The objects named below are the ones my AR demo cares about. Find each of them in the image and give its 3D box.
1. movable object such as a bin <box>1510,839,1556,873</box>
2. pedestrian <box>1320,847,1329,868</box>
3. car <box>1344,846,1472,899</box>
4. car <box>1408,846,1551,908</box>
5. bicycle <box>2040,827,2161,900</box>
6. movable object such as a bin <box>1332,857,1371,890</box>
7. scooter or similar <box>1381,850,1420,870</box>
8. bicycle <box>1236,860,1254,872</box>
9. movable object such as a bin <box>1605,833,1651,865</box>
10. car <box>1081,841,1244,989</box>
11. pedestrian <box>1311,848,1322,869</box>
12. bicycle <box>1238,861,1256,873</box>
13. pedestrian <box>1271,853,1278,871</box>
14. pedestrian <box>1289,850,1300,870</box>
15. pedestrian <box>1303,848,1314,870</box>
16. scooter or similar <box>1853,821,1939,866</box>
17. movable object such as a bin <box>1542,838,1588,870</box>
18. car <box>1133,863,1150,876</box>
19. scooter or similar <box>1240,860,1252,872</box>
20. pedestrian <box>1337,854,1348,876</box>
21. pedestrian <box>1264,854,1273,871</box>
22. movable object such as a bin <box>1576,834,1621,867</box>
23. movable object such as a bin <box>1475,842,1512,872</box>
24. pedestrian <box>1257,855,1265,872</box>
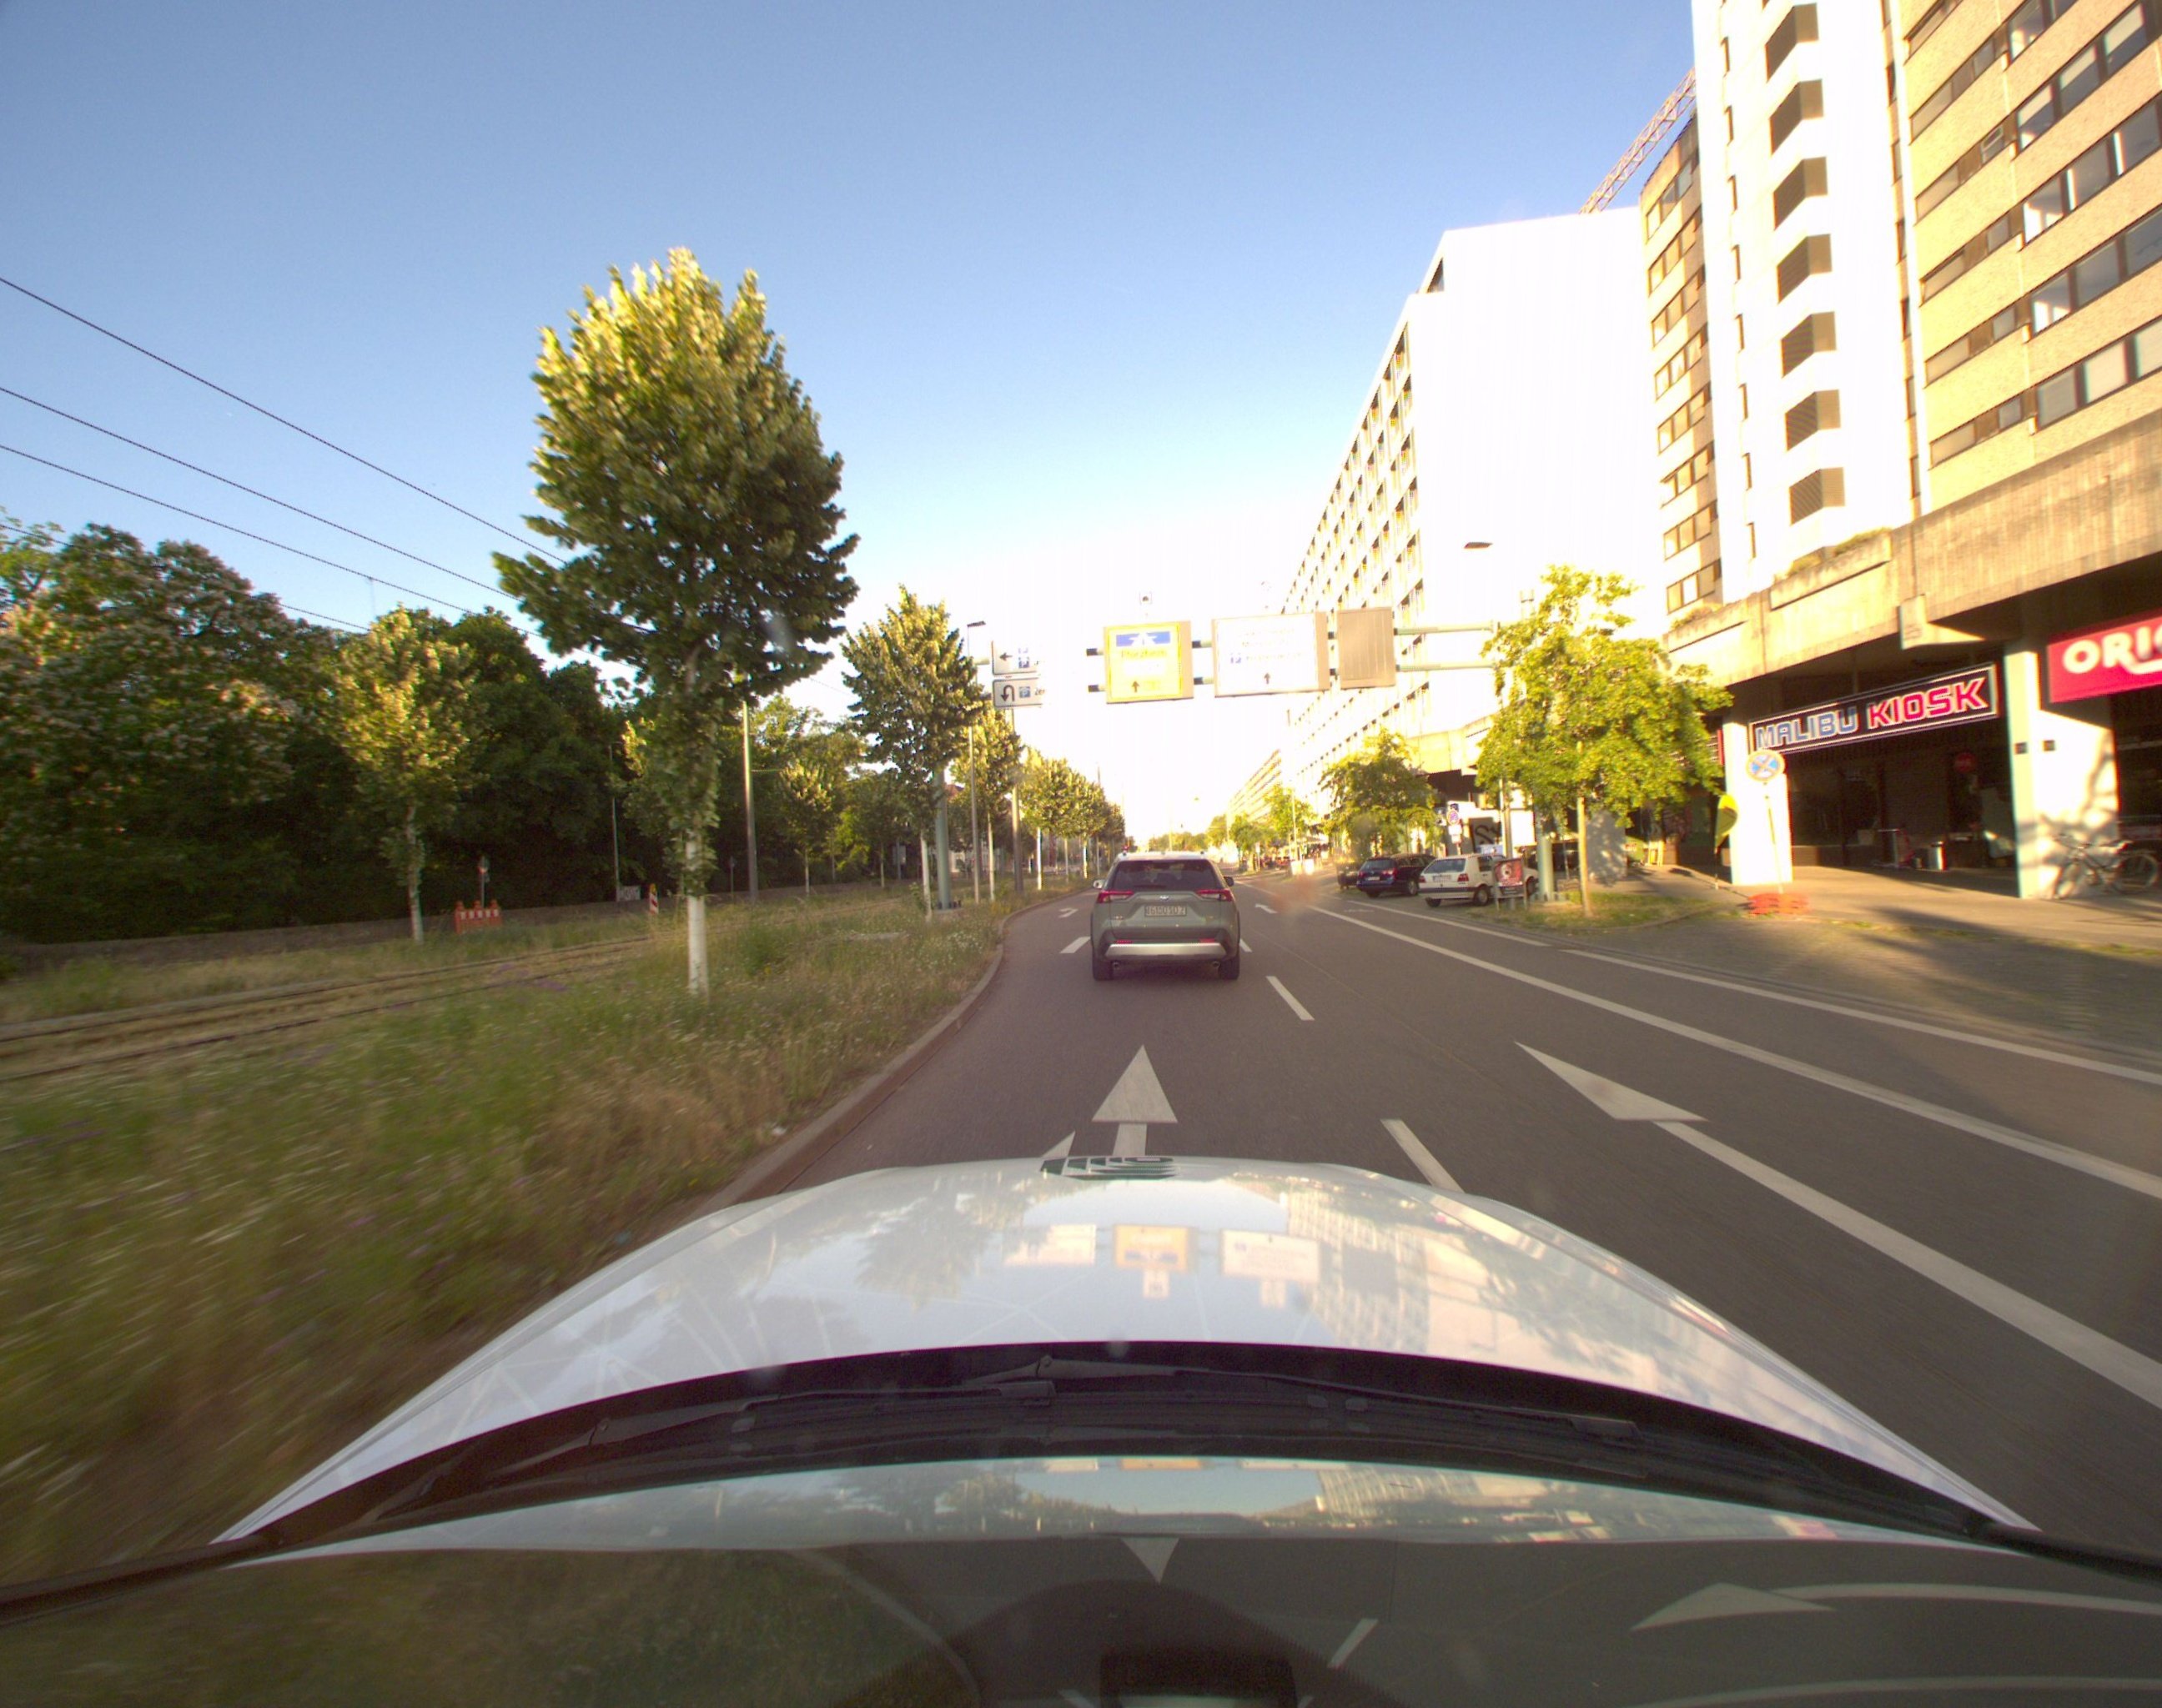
[{"bbox_3d":[19.272,0.090,34.743,1.176,1.323,1.268,-6,-1,4],"label":"movable object such as a bin"},{"bbox_3d":[21.796,0.340,72.951,0.614,1.811,0.780,-6,-2,15],"label":"pedestrian"},{"bbox_3d":[11.911,0.659,29.566,4.688,1.508,1.919,-4,-1,-34],"label":"car"},{"bbox_3d":[11.393,0.640,23.208,4.006,1.416,1.733,-4,-1,-32],"label":"car"},{"bbox_3d":[16.731,0.147,13.245,1.565,1.048,0.434,-5,-1,4],"label":"bicycle"},{"bbox_3d":[11.533,0.815,34.786,1.081,1.301,1.361,-5,-1,0],"label":"movable object such as a bin"},{"bbox_3d":[21.595,0.433,55.062,2.361,1.183,0.621,-4,-1,5],"label":"scooter or similar"},{"bbox_3d":[18.267,1.323,90.597,1.787,1.193,0.568,-5,-1,1],"label":"bicycle"},{"bbox_3d":[23.231,-0.207,34.627,1.176,1.313,1.089,-3,-1,4],"label":"movable object such as a bin"},{"bbox_3d":[1.161,0.720,11.543,1.825,1.672,4.289,-2,0,6],"label":"car"},{"bbox_3d":[21.096,0.388,72.986,0.750,1.824,0.944,-5,-1,15],"label":"pedestrian"},{"bbox_3d":[18.121,1.445,88.786,1.837,1.182,0.609,-5,-1,5],"label":"bicycle"},{"bbox_3d":[19.109,0.790,80.425,0.572,1.786,0.832,-5,-2,14],"label":"pedestrian"},{"bbox_3d":[20.724,0.582,79.073,0.818,1.888,0.869,-5,-2,14],"label":"pedestrian"},{"bbox_3d":[20.458,0.441,73.198,0.738,1.849,0.944,-6,-2,15],"label":"pedestrian"},{"bbox_3d":[22.008,-0.262,22.035,0.400,1.161,1.828,-1,0,-3],"label":"scooter or similar"},{"bbox_3d":[20.639,0.000,34.725,1.176,1.299,1.306,-3,-1,4],"label":"movable object such as a bin"},{"bbox_3d":[6.803,1.751,91.649,1.665,1.352,4.007,-1,0,6],"label":"car"},{"bbox_3d":[18.262,1.313,90.054,1.205,1.201,0.480,-5,-1,1],"label":"scooter or similar"},{"bbox_3d":[20.001,0.831,62.259,0.574,1.619,0.643,-5,-1,3],"label":"pedestrian"},{"bbox_3d":[19.955,0.931,86.845,0.681,1.735,0.762,-5,-1,6],"label":"pedestrian"},{"bbox_3d":[21.975,-0.139,34.629,1.176,1.313,1.126,-3,-1,4],"label":"movable object such as a bin"},{"bbox_3d":[19.765,0.156,39.046,1.099,1.329,1.285,-5,-1,5],"label":"movable object such as a bin"},{"bbox_3d":[19.204,1.017,86.777,0.650,1.702,0.690,-5,-1,6],"label":"pedestrian"}]
